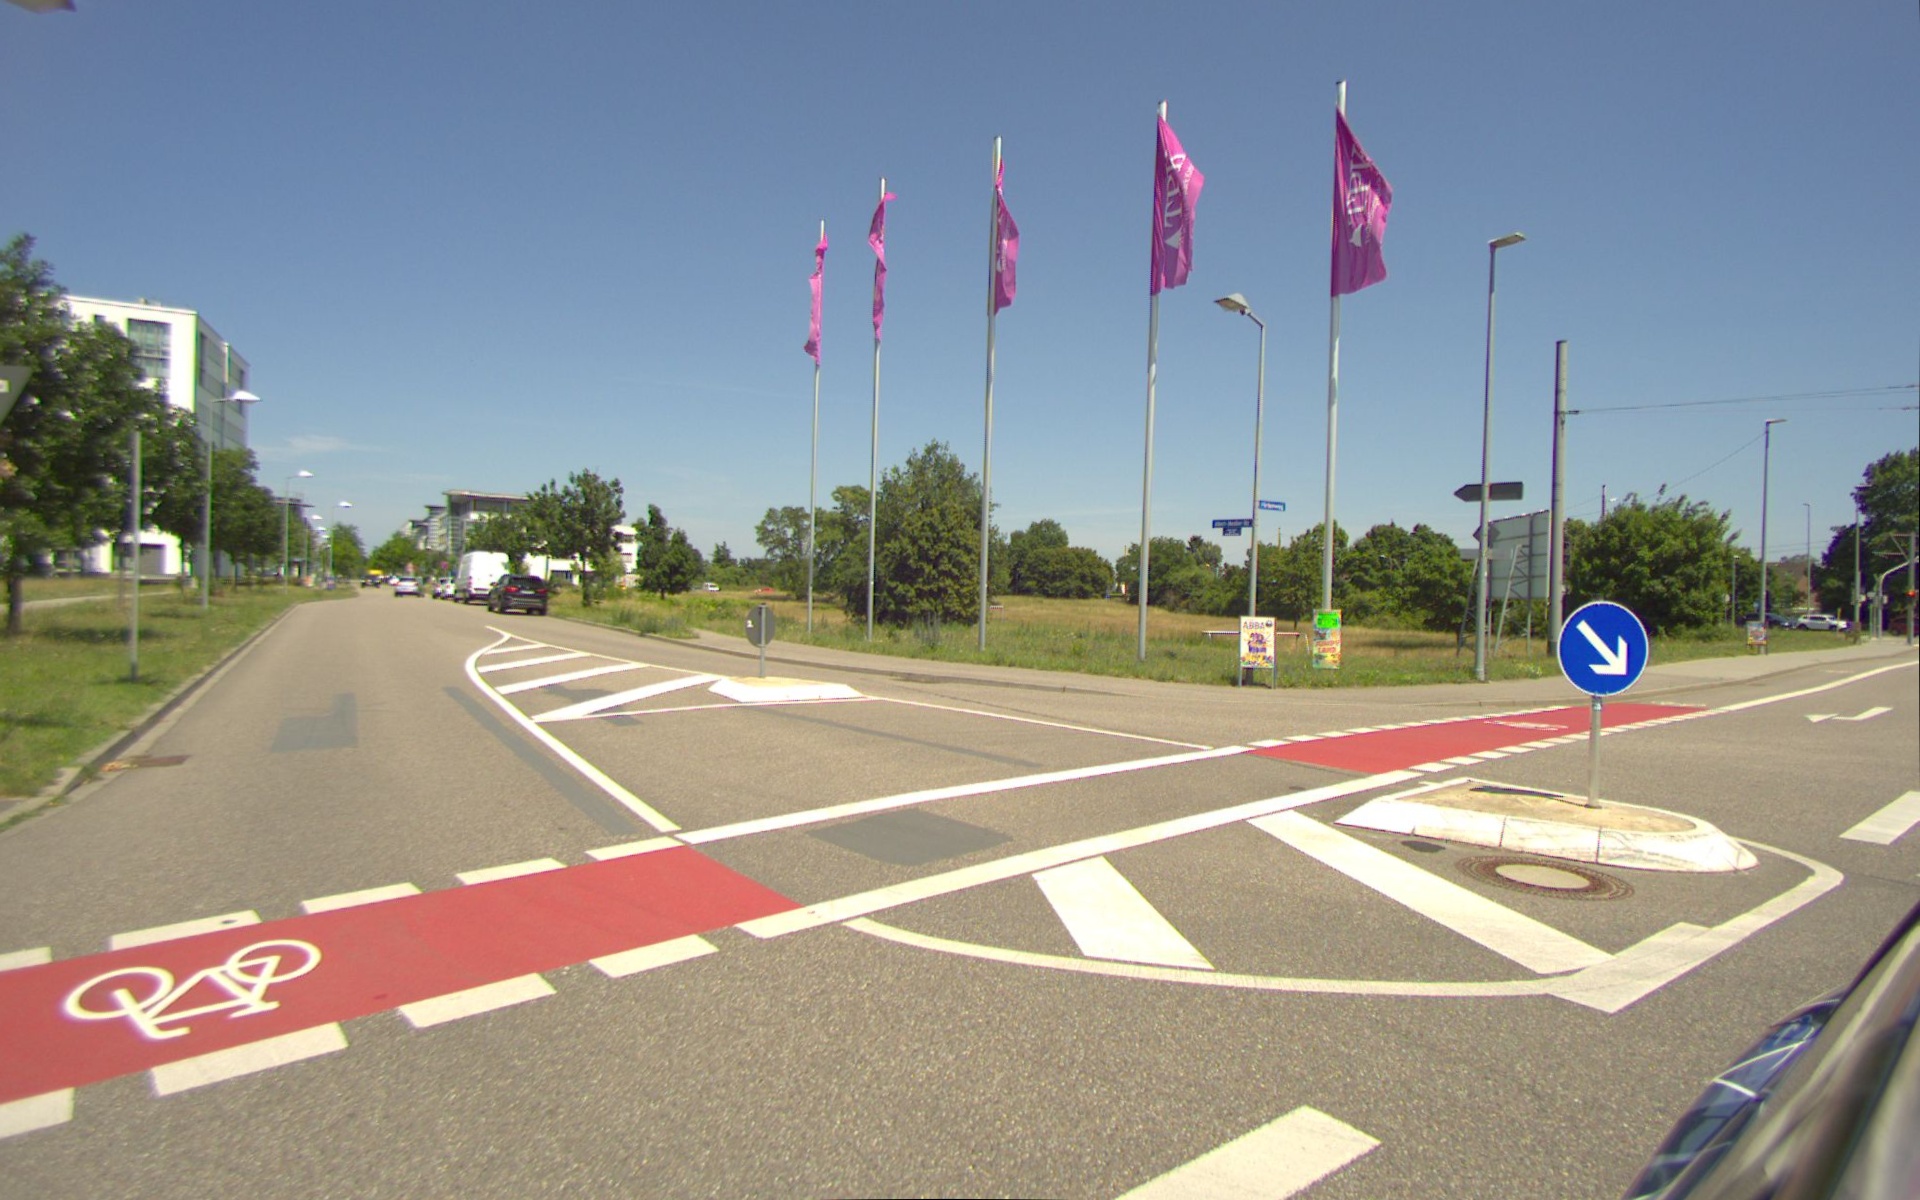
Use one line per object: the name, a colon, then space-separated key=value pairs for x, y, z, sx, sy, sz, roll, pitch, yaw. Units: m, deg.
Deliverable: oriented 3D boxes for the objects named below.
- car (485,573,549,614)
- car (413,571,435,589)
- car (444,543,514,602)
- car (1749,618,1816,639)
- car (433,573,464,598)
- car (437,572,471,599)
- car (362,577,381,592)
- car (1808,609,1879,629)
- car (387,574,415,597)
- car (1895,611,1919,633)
car: x=-17.972 y=-0.236 z=40.993 sx=1.673 sy=1.552 sz=3.627 roll=1 pitch=-1 yaw=-35
car: x=-49.871 y=-1.856 z=94.127 sx=1.671 sy=1.552 sz=3.631 roll=1 pitch=-1 yaw=-30
car: x=-24.955 y=-1.346 z=52.369 sx=2.615 sy=2.837 sz=6.859 roll=0 pitch=0 yaw=-31
car: x=72.525 y=2.476 z=89.356 sx=1.836 sy=1.596 sz=4.420 roll=2 pitch=0 yaw=-10
car: x=-34.652 y=-0.970 z=68.460 sx=1.671 sy=1.552 sz=3.631 roll=1 pitch=-1 yaw=-30
car: x=-32.026 y=-0.886 z=64.006 sx=1.671 sy=1.552 sz=3.631 roll=1 pitch=-1 yaw=-30
car: x=-67.834 y=-1.775 z=116.660 sx=1.671 sy=1.553 sz=3.631 roll=6 pitch=-4 yaw=-30
car: x=76.580 y=1.636 z=87.841 sx=1.836 sy=1.596 sz=4.420 roll=2 pitch=0 yaw=-10
car: x=-41.011 y=-1.021 z=74.228 sx=1.672 sy=1.552 sz=3.630 roll=1 pitch=-1 yaw=-31
car: x=74.720 y=1.748 z=77.390 sx=1.836 sy=1.596 sz=4.420 roll=2 pitch=0 yaw=-10
